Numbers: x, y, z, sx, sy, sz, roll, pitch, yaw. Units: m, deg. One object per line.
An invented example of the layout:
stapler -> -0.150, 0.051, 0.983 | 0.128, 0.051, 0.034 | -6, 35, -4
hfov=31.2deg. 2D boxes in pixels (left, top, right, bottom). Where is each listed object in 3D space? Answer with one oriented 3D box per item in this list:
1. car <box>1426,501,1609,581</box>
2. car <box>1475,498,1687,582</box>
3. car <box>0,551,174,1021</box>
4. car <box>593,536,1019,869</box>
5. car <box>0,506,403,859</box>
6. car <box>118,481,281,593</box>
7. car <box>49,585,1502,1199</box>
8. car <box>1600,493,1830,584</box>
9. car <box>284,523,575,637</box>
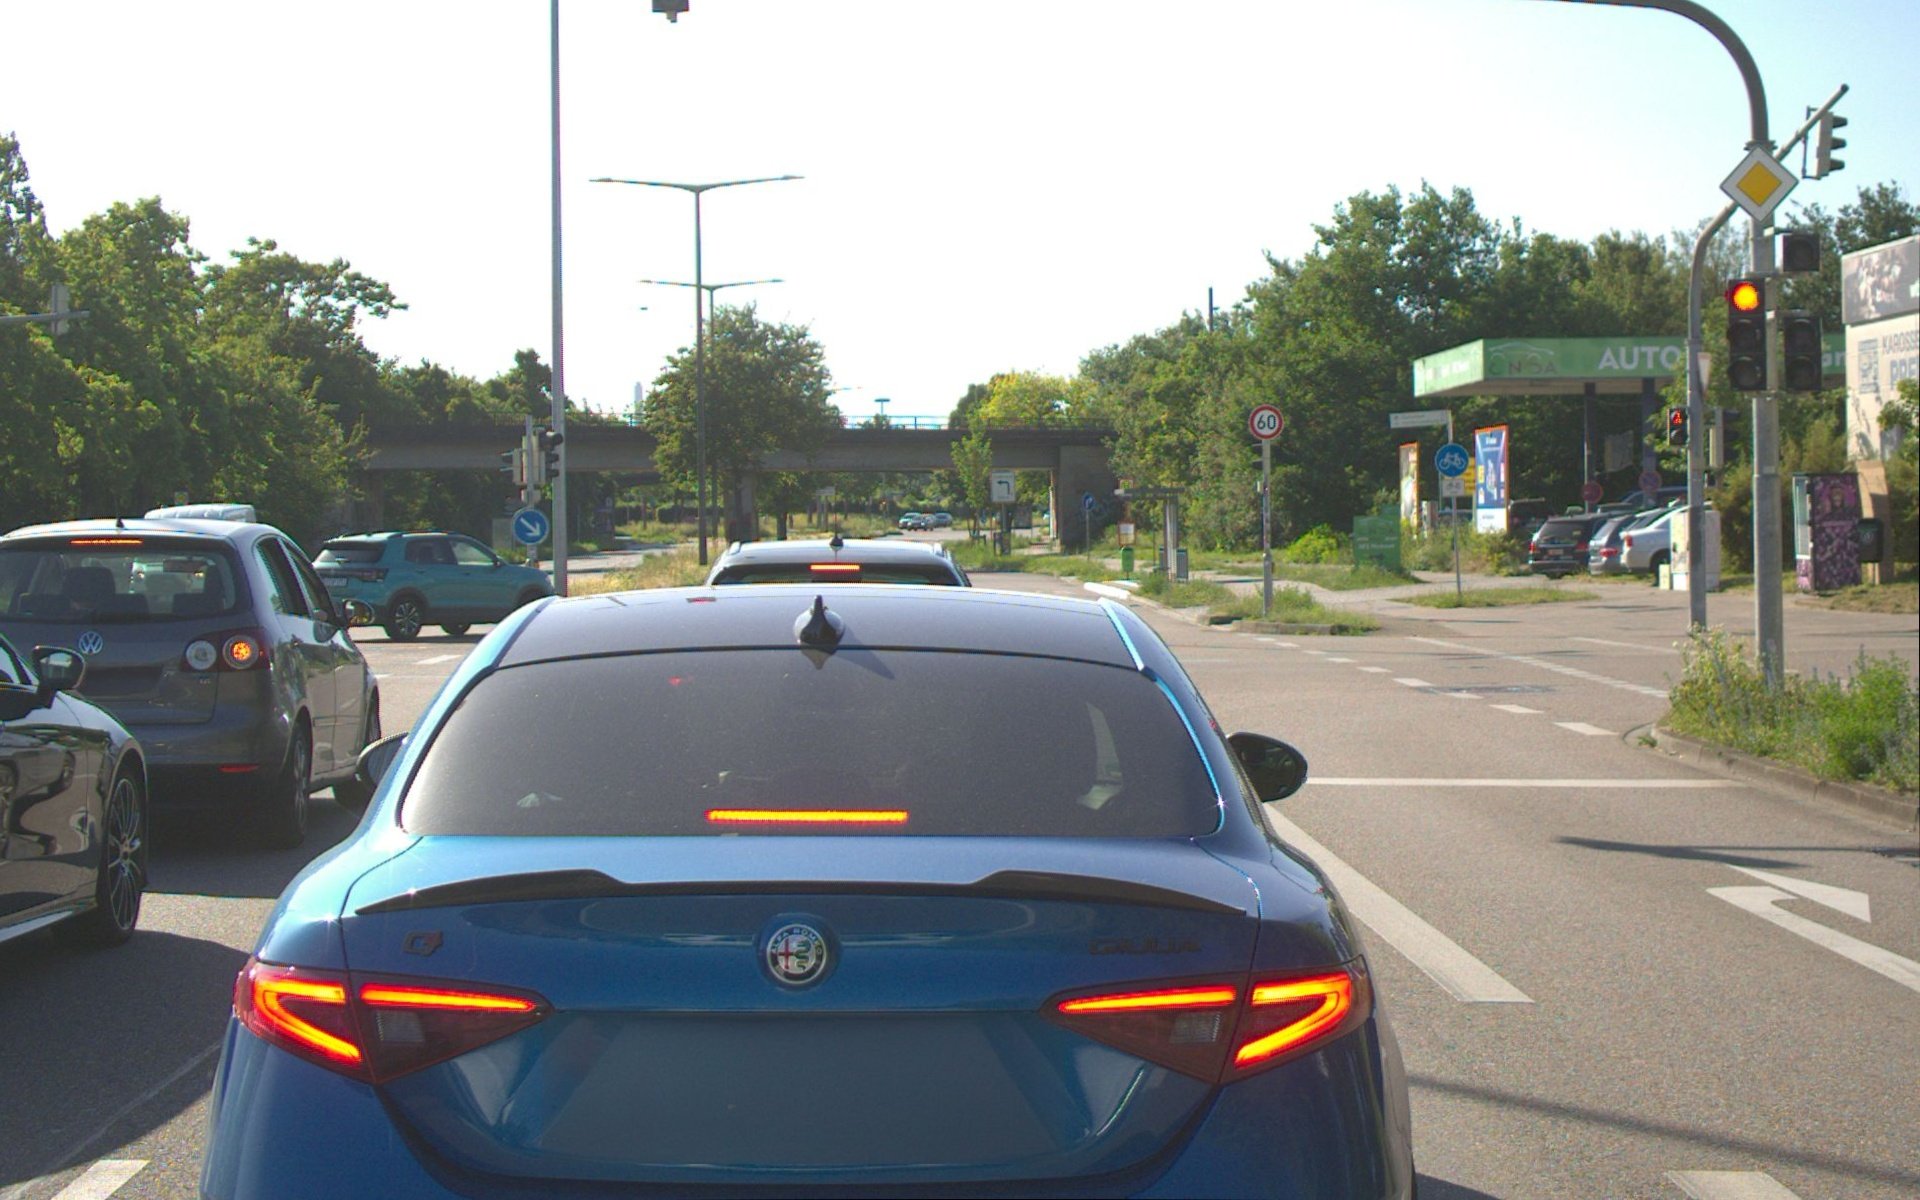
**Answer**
car -> 12.013, -1.276, 74.134 | 3.483, 1.700, 1.696 | -1, 1, -16
car -> 12.814, -1.239, 70.944 | 3.986, 1.700, 1.696 | -1, 1, -19
car -> -3.805, 0.574, 10.619 | 1.768, 1.409, 4.461 | 0, 1, -1
car -> -0.700, 0.415, 17.058 | 1.866, 1.445, 3.932 | 0, 1, -1
car -> -3.968, 0.334, 17.535 | 1.648, 1.593, 3.932 | 0, 1, -1
car -> -17.109, -1.431, 77.615 | 2.431, 2.418, 5.831 | 0, 1, -1
car -> -0.261, 0.699, 6.394 | 1.866, 1.380, 3.932 | 0, 1, -1
car -> 14.505, -1.186, 66.088 | 3.986, 1.700, 1.696 | -1, 1, -16
car -> -7.785, -0.328, 50.711 | 1.823, 1.589, 4.041 | 1, 2, 40
